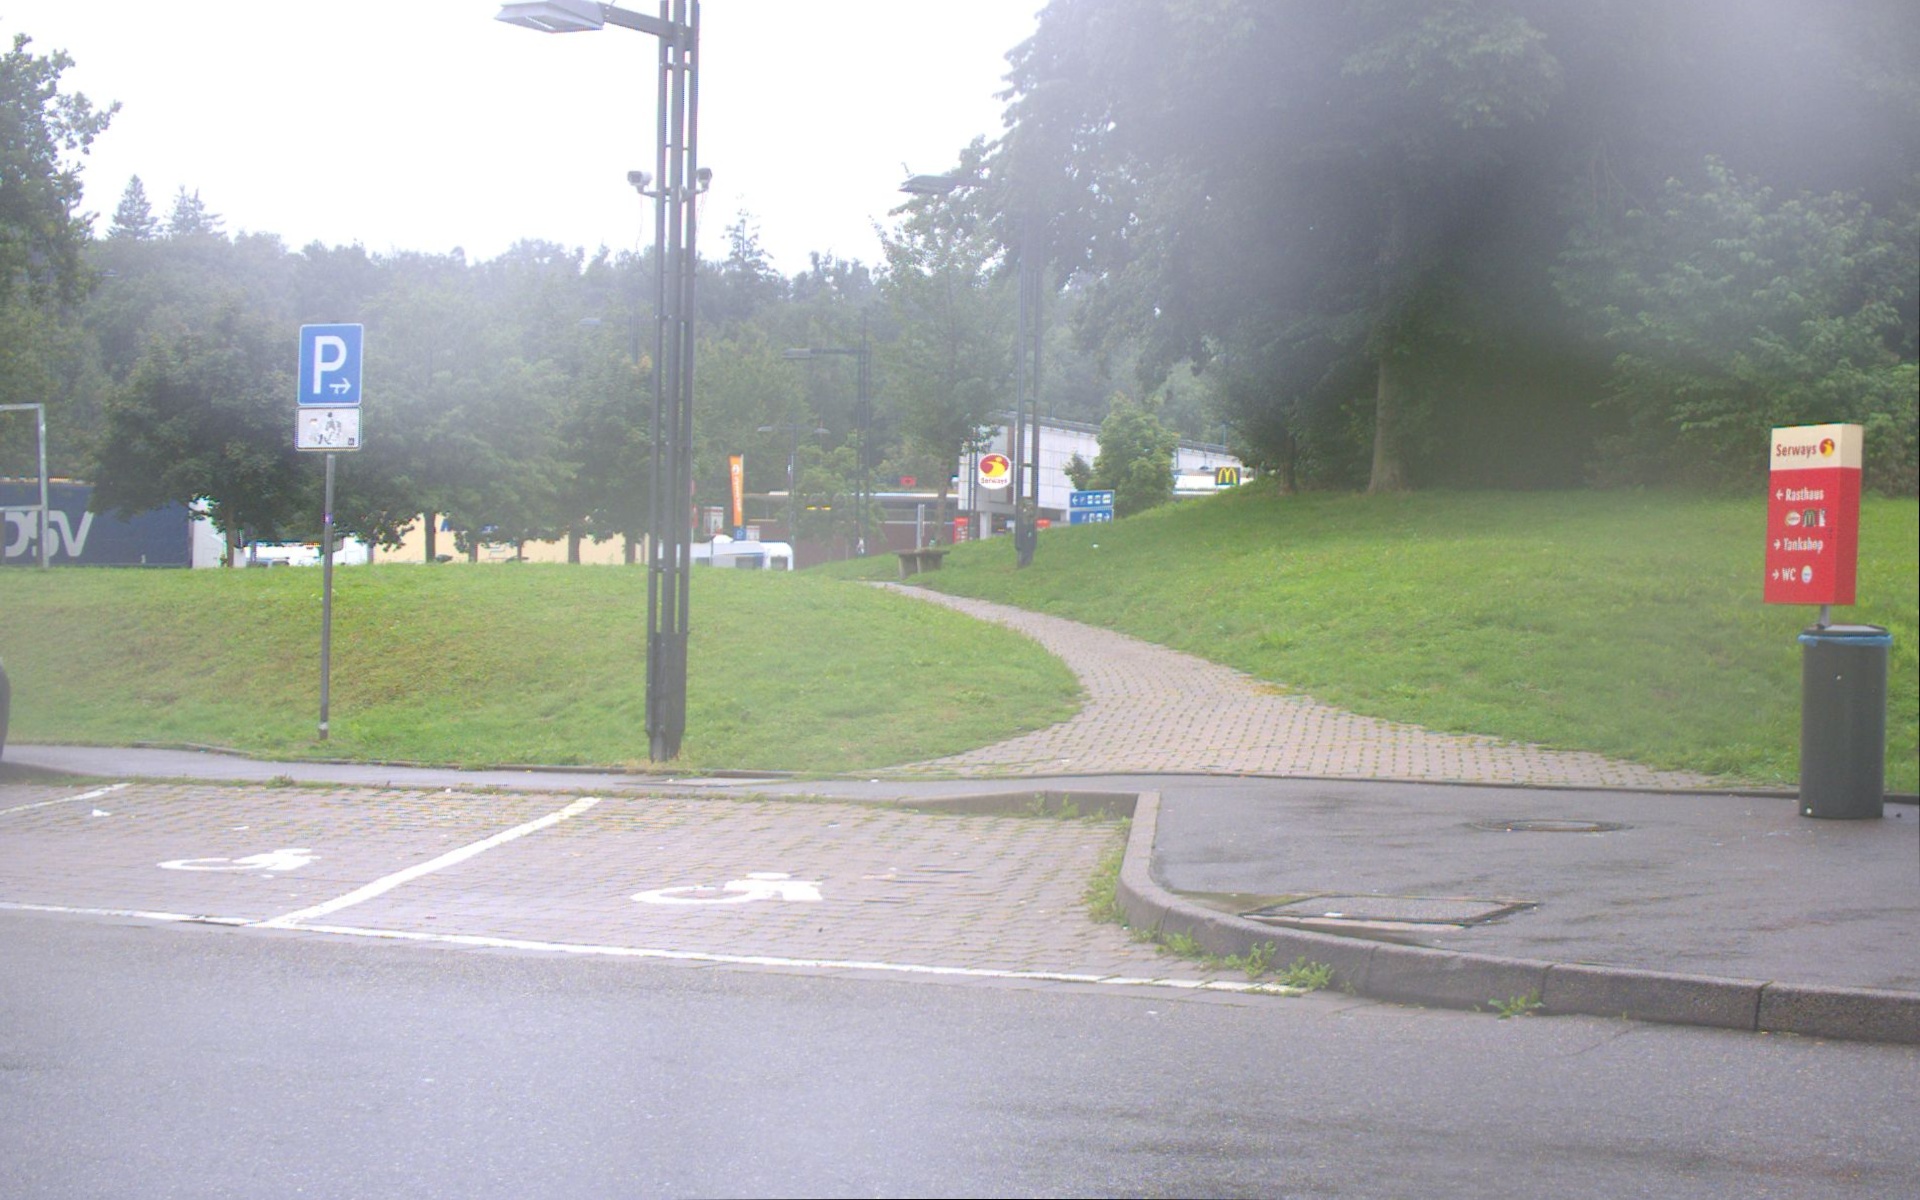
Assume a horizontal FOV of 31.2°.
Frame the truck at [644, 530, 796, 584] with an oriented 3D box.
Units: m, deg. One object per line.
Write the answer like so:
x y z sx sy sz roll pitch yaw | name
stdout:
-9.326 -1.673 133.808 5.413 2.007 2.364 1 1 25 | truck

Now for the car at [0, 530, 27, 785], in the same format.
-7.801 0.448 21.494 2.018 1.705 4.341 -1 1 12 | car

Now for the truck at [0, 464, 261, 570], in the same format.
-25.464 -2.377 101.631 2.188 2.910 13.082 1 1 24 | truck

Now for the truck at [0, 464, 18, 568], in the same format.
-28.602 -2.352 94.661 2.189 2.910 5.380 1 1 24 | truck
